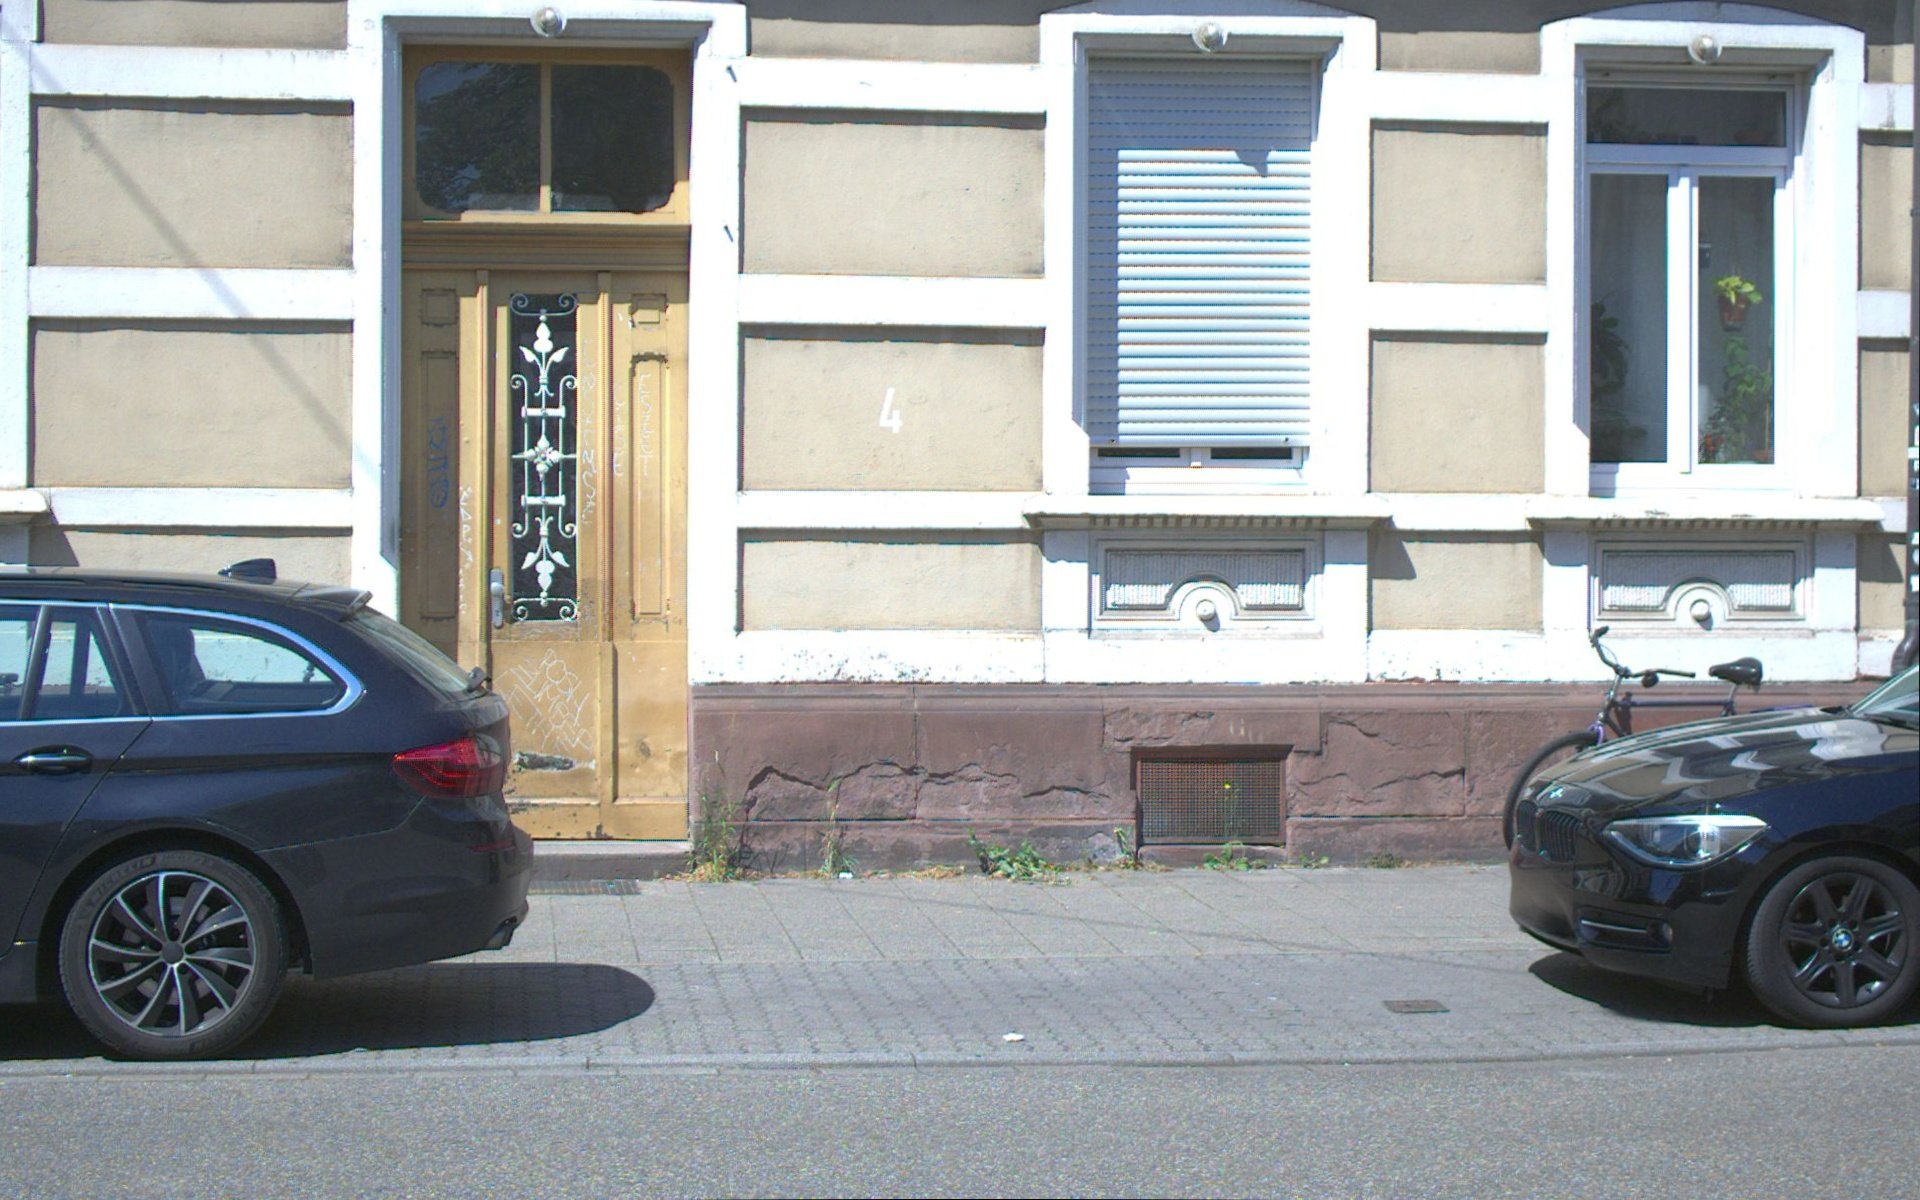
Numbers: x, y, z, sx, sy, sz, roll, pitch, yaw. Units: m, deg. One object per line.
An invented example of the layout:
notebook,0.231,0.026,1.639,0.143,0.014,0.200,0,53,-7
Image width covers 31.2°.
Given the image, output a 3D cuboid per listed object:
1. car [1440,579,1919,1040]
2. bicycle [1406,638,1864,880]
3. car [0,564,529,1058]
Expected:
car,4.022,0.648,12.092,4.293,1.365,1.808,-1,3,-7
bicycle,3.050,0.707,15.549,2.004,1.018,0.424,-1,3,-10
car,-3.836,0.630,10.961,4.858,1.432,2.000,-1,0,-7
